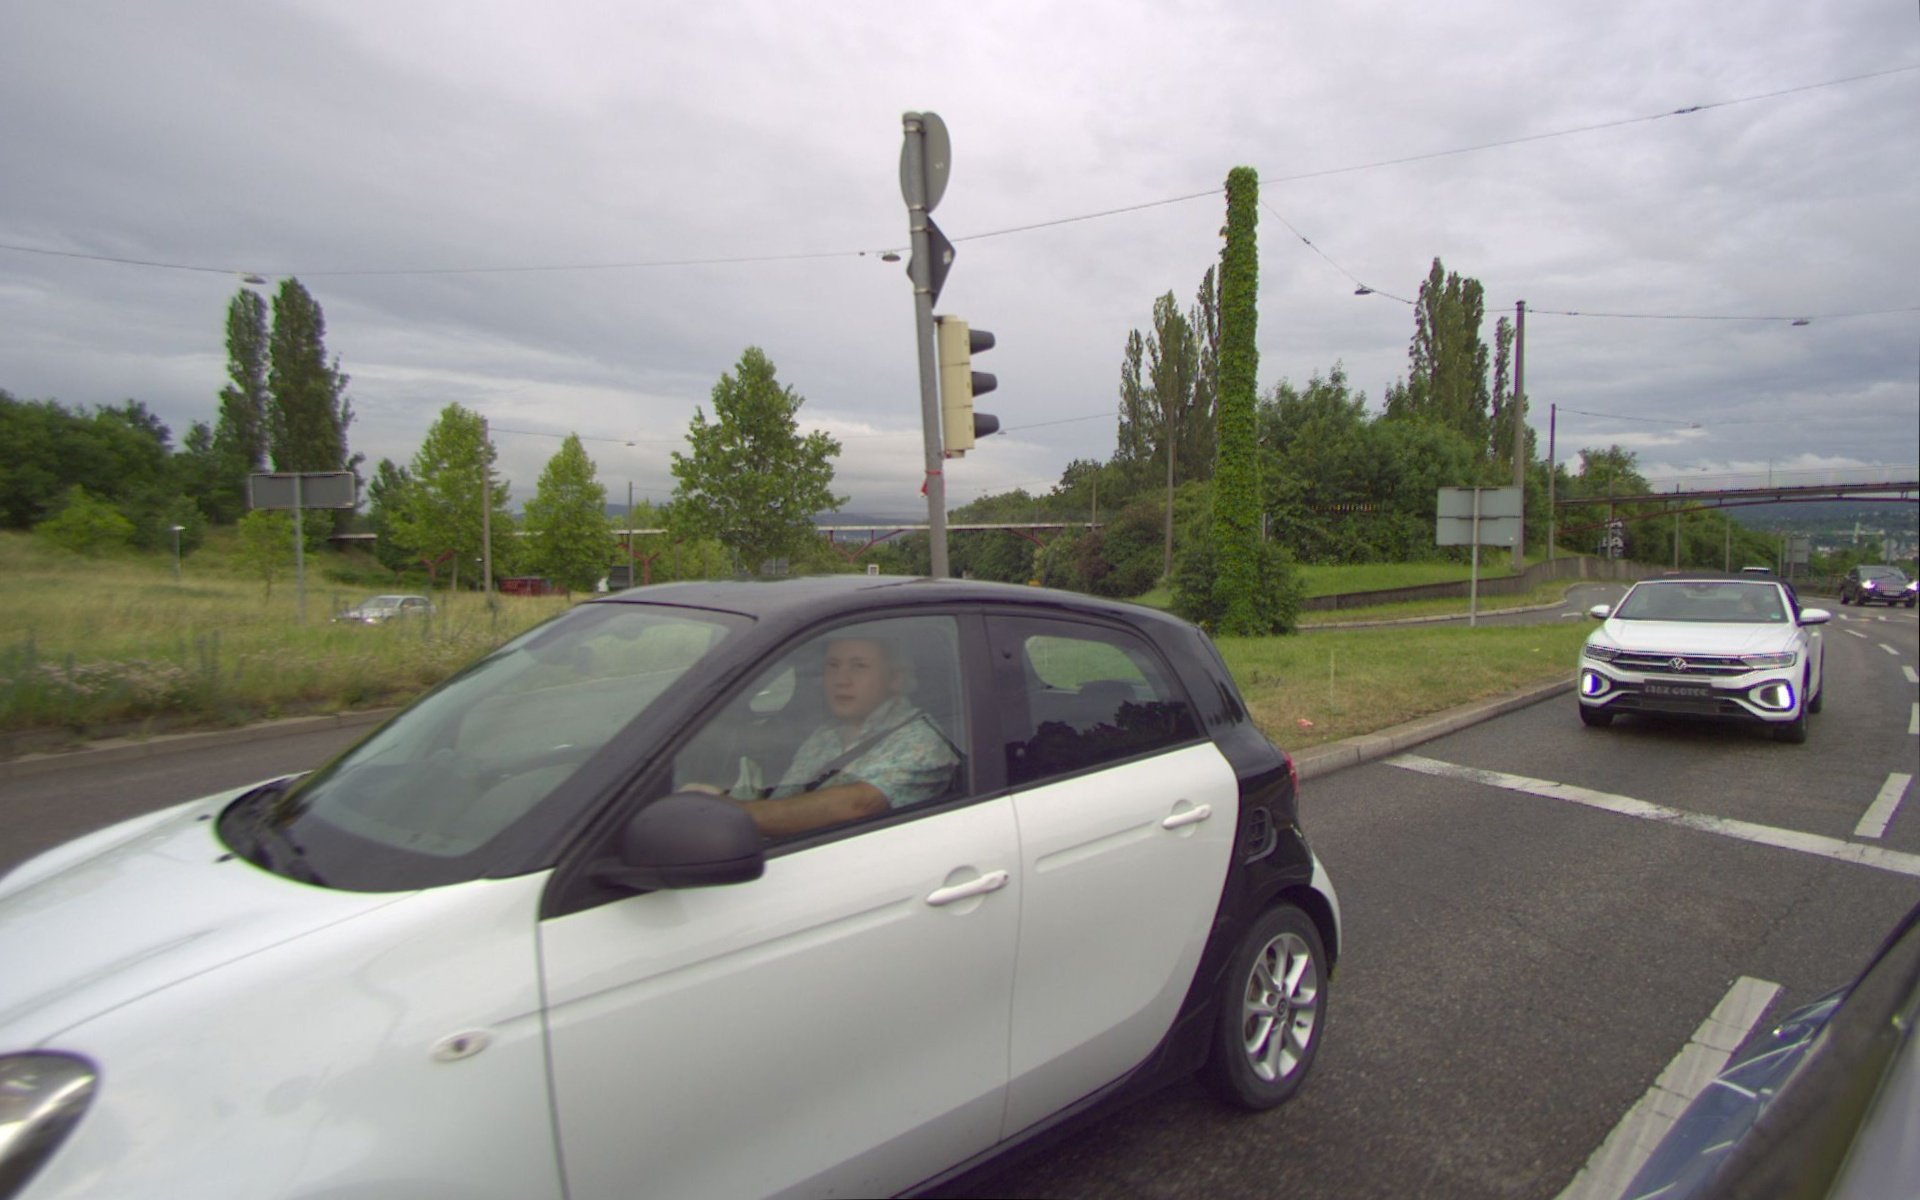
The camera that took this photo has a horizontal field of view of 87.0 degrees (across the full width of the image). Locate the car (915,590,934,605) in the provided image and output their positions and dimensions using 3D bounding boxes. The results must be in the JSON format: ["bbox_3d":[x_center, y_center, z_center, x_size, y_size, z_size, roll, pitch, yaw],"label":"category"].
[{"bbox_3d":[-4.347,-0.302,123.900,1.855,1.861,3.846,-1,0,-8],"label":"car"}]

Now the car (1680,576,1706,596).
[{"bbox_3d":[76.028,-1.449,104.994,1.986,2.039,3.952,0,0,34],"label":"car"}]

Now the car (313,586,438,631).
[{"bbox_3d":[-20.247,0.250,35.245,1.718,1.445,3.993,1,0,6],"label":"car"}]

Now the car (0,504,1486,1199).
[{"bbox_3d":[-0.221,0.644,2.983,4.153,1.541,1.725,0,1,-41],"label":"car"}]

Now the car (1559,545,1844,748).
[{"bbox_3d":[7.787,0.316,10.495,1.839,1.558,3.759,0,5,45],"label":"car"}]

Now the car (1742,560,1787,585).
[{"bbox_3d":[57.221,-1.936,72.046,1.984,1.713,4.240,0,0,32],"label":"car"}]

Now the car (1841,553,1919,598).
[{"bbox_3d":[38.159,-0.984,41.734,1.911,1.757,3.984,0,0,29],"label":"car"}]

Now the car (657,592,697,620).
[{"bbox_3d":[-20.996,0.400,75.297,1.961,2.039,4.002,0,0,-2],"label":"car"}]

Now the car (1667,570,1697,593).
[{"bbox_3d":[67.018,-1.684,94.002,1.985,2.039,3.953,-1,-1,32],"label":"car"}]
